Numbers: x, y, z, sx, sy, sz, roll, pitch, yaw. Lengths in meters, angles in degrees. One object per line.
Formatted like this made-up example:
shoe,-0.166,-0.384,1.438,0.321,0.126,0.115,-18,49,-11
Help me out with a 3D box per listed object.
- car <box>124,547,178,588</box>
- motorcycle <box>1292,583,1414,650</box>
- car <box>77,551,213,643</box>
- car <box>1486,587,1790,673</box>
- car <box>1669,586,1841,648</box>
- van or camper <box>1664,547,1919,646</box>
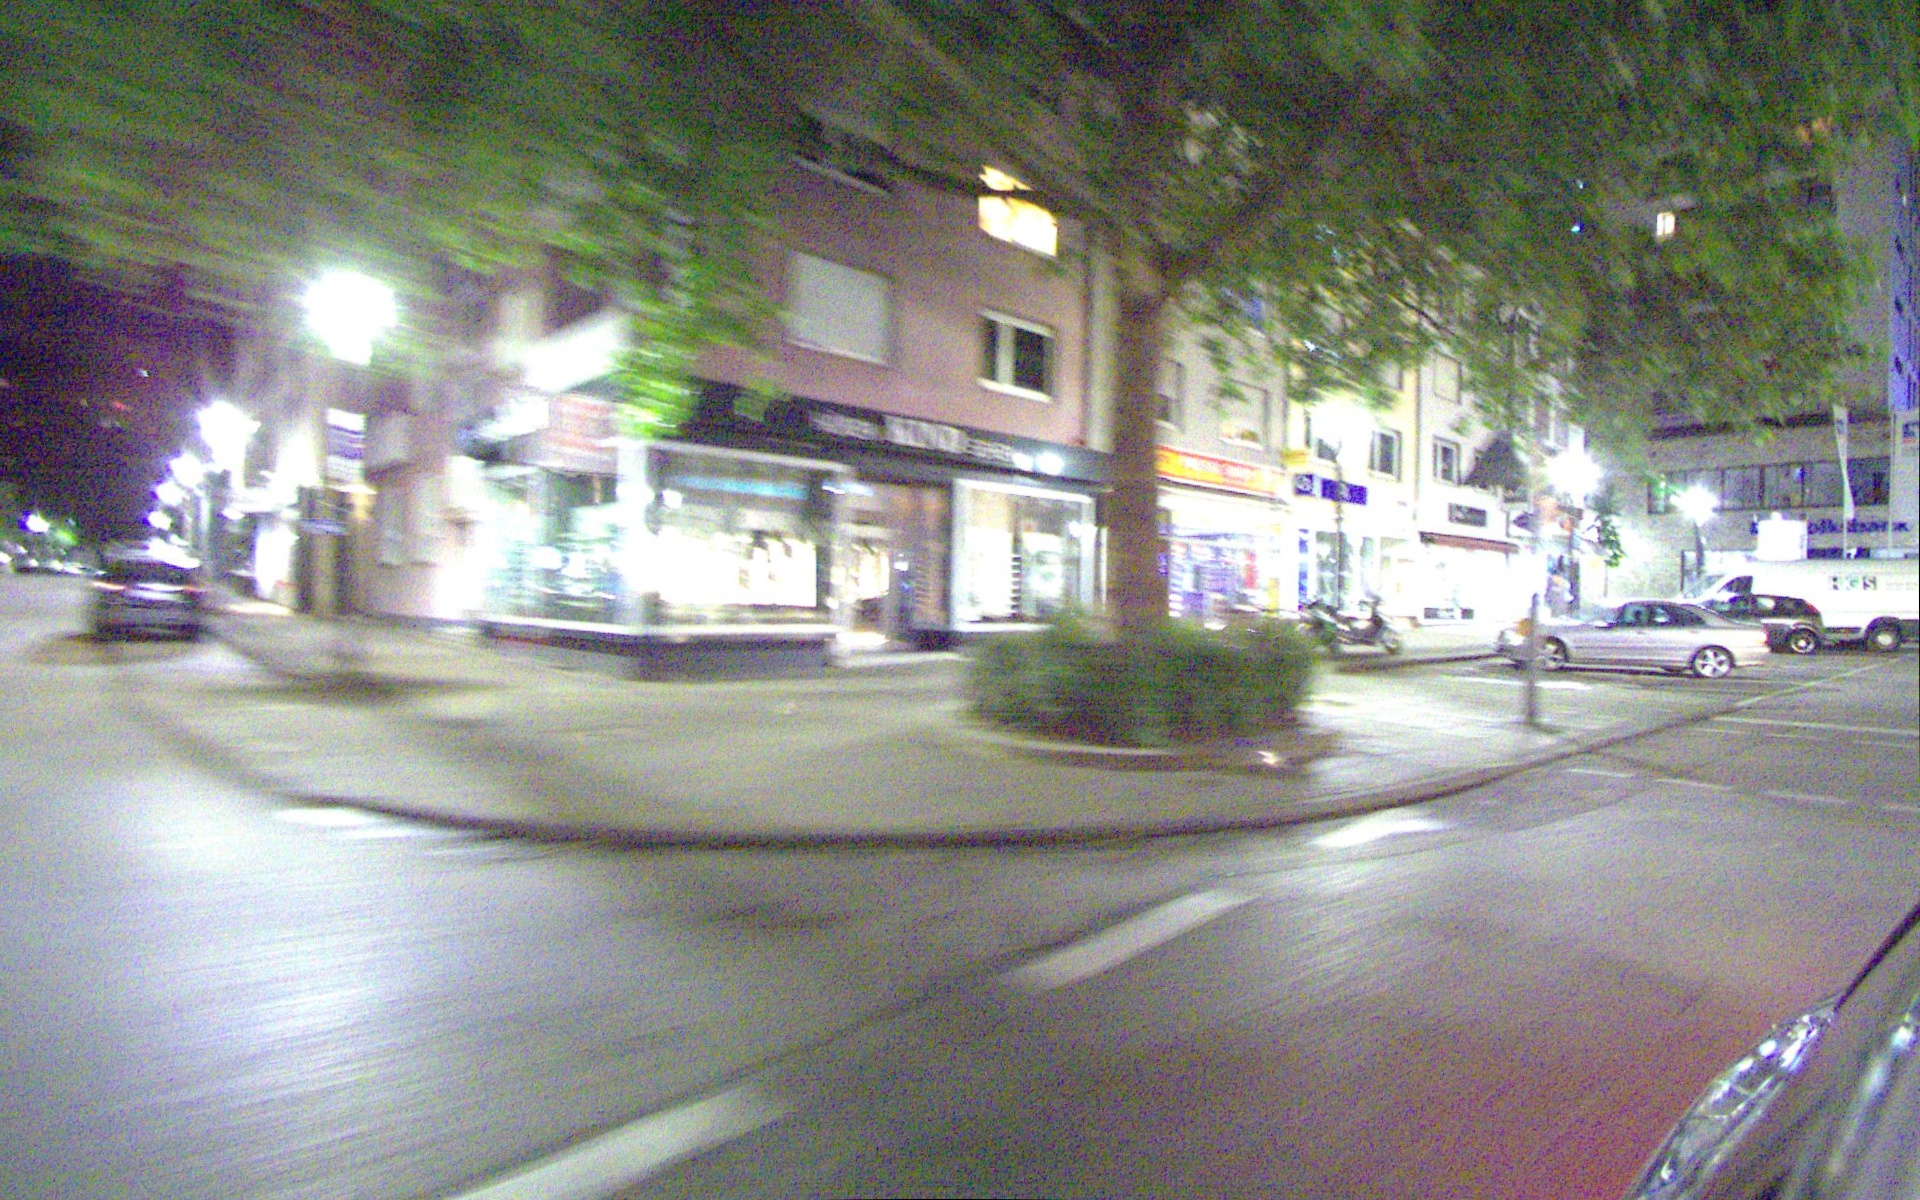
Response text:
car,-32.745,-1.328,41.007,1.622,1.518,3.521,1,1,-39
motorcycle,7.770,0.308,20.073,2.185,1.286,0.531,1,0,9
car,-15.907,-0.114,19.760,1.867,1.609,3.996,1,1,-40
car,12.698,0.512,19.272,4.483,1.474,1.629,1,1,16
car,20.568,0.400,26.330,3.144,1.474,1.681,1,1,24
van or camper,23.305,-0.135,27.920,5.977,2.565,2.148,1,1,21
